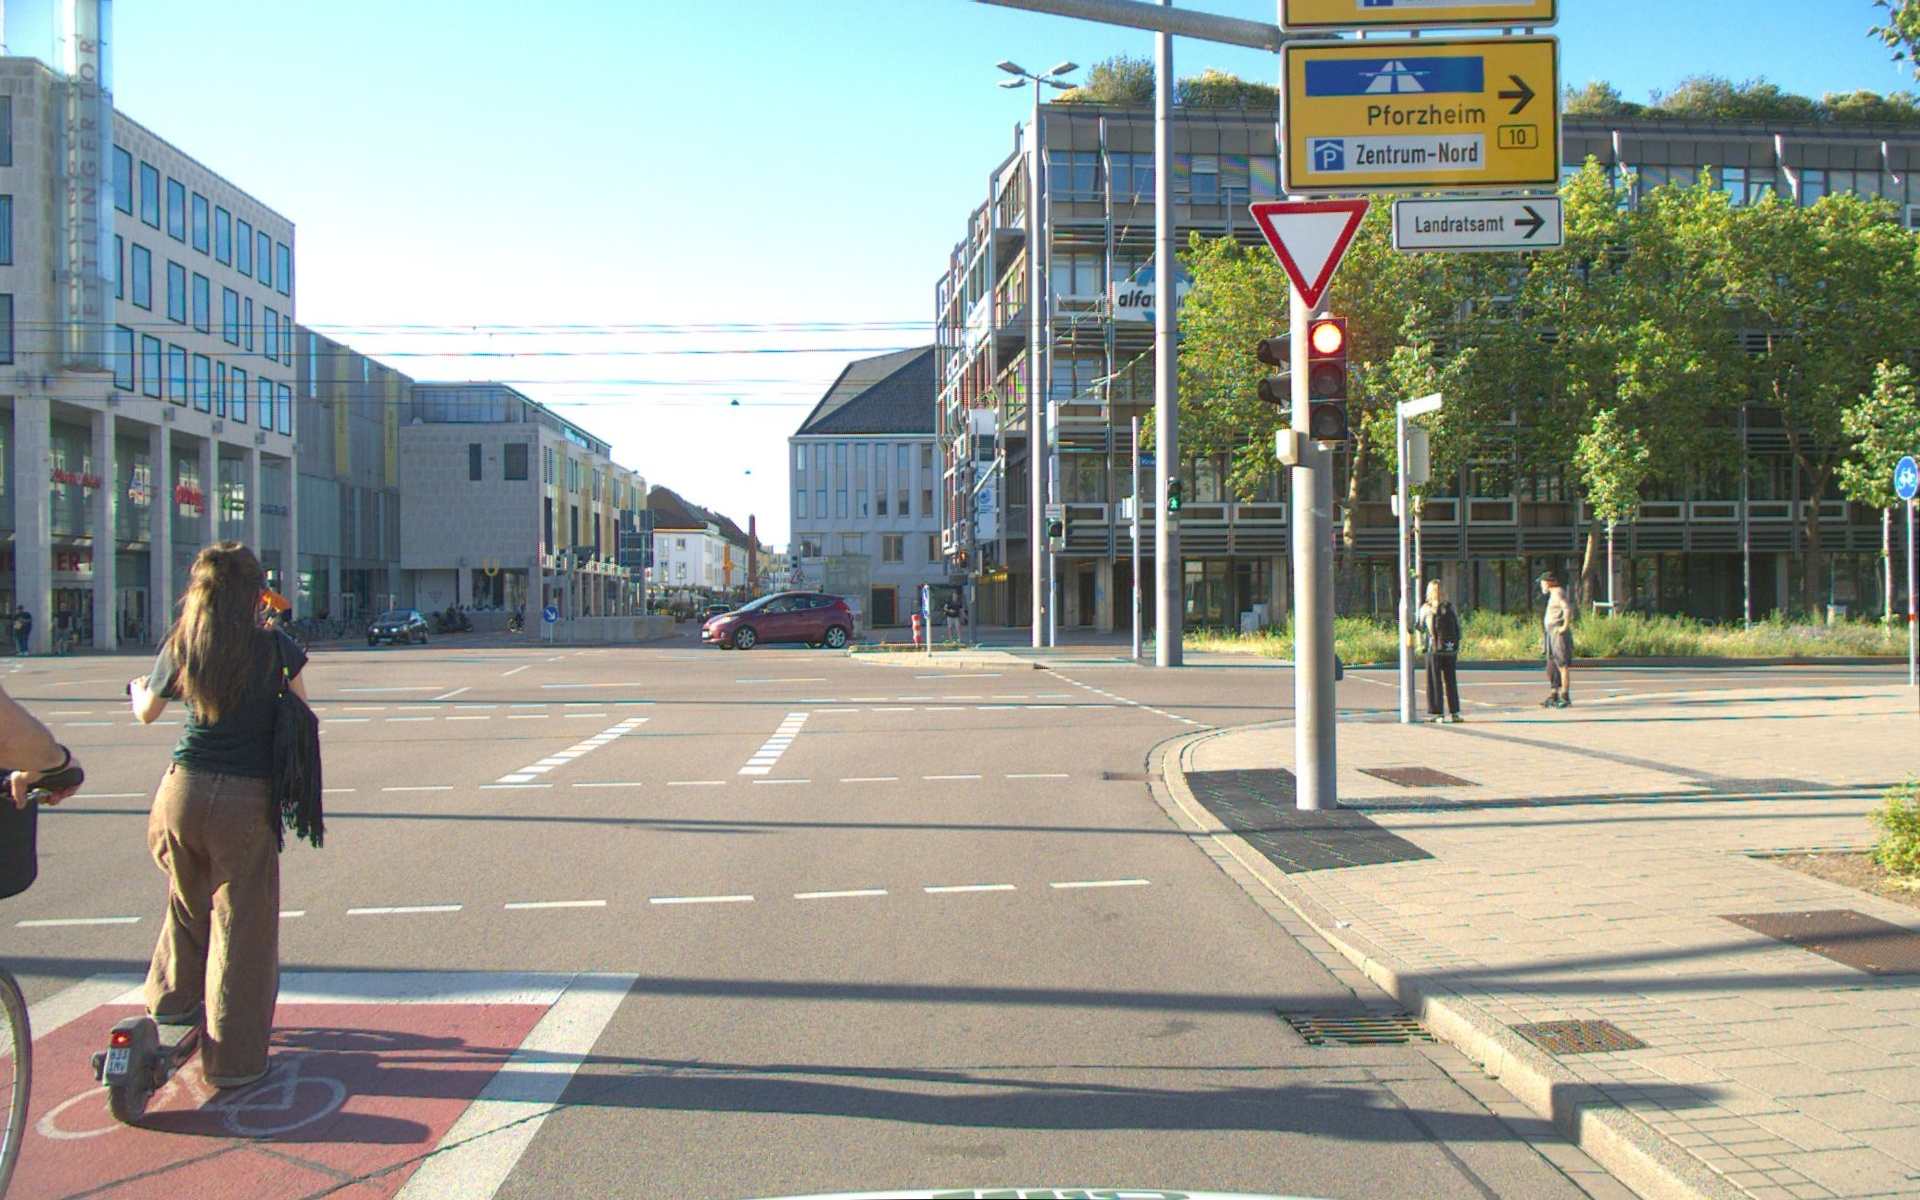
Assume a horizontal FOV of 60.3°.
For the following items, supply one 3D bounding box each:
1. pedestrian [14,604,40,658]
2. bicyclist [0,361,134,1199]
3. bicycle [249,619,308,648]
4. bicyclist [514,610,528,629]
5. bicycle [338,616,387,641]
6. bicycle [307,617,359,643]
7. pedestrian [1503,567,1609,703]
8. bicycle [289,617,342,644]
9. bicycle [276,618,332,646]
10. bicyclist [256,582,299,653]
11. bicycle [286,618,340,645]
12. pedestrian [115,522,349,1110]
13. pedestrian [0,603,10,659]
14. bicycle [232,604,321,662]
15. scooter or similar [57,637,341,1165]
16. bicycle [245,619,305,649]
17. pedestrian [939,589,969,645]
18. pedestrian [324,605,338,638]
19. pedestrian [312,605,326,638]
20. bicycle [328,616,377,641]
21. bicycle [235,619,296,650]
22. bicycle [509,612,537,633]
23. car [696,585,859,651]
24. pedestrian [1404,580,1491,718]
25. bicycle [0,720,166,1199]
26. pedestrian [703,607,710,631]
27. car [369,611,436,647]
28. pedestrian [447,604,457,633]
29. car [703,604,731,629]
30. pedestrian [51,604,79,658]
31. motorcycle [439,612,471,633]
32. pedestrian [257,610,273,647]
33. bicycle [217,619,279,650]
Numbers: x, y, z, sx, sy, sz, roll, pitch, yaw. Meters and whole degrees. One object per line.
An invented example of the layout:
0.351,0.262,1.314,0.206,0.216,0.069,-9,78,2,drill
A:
-32.864,1.080,58.264,0.787,1.876,0.856,0,0,-29,pedestrian
-1.979,0.462,2.853,0.647,1.750,0.865,1,-1,-1,bicyclist
-29.505,1.439,71.634,2.260,1.244,0.611,0,0,-3,bicycle
-26.221,1.142,98.842,0.500,1.103,0.624,1,0,29,bicyclist
-30.816,1.476,85.339,2.260,1.244,0.611,0,0,-3,bicycle
-30.335,1.461,80.052,2.260,1.244,0.611,0,0,-3,bicycle
7.628,0.438,21.200,0.865,1.694,0.959,1,-1,-19,pedestrian
-30.715,1.449,78.819,2.260,1.244,0.611,0,0,-3,bicycle
-29.605,1.450,74.698,2.260,1.244,0.611,0,0,-3,bicycle
-14.227,0.357,34.481,0.706,1.462,0.490,1,-1,-39,bicyclist
-30.066,1.452,76.849,2.260,1.244,0.611,0,0,-3,bicycle
-2.189,0.614,5.028,0.540,1.661,0.569,1,-1,-16,pedestrian
-33.061,1.068,56.754,0.706,1.918,0.780,1,-1,-28,pedestrian
-14.241,0.682,34.461,1.634,1.175,0.490,1,-1,-39,bicycle
-2.179,0.782,4.861,0.538,1.316,1.189,1,0,-15,scooter or similar
-29.292,1.439,70.757,2.260,1.244,0.611,0,0,-3,bicycle
-0.209,0.580,57.616,0.781,1.923,0.636,1,-1,-35,pedestrian
-33.019,1.124,86.831,0.544,1.709,0.606,1,0,-11,pedestrian
-33.572,1.127,86.654,0.560,1.709,0.614,1,0,-10,pedestrian
-30.928,1.469,84.268,2.260,1.244,0.611,0,0,-3,bicycle
-29.127,1.436,69.403,2.260,1.244,0.611,0,0,-3,bicycle
-26.157,1.346,98.947,0.500,1.228,1.808,1,0,28,bicycle
-4.683,0.442,42.448,3.836,1.613,1.646,0,0,-25,car
5.514,0.548,18.749,0.772,1.518,0.644,1,-1,-1,pedestrian
-2.083,0.866,2.927,0.475,1.176,1.831,1,0,-1,bicycle
-17.941,1.362,117.048,0.511,1.709,0.582,1,0,-8,pedestrian
-23.379,1.208,69.485,1.597,1.365,3.998,-3,0,-3,car
-30.099,1.076,98.079,0.512,1.709,0.581,1,0,-14,pedestrian
-15.826,1.060,107.947,1.705,1.558,3.849,1,0,-8,car
-31.172,1.071,57.604,0.788,1.876,0.854,0,0,-33,pedestrian
-29.762,1.330,97.476,1.775,1.228,0.509,1,0,-16,motorcycle
-33.176,1.362,78.985,0.439,1.749,0.650,-1,0,2,pedestrian
-29.335,1.426,68.117,2.260,1.244,0.611,0,0,-3,bicycle
